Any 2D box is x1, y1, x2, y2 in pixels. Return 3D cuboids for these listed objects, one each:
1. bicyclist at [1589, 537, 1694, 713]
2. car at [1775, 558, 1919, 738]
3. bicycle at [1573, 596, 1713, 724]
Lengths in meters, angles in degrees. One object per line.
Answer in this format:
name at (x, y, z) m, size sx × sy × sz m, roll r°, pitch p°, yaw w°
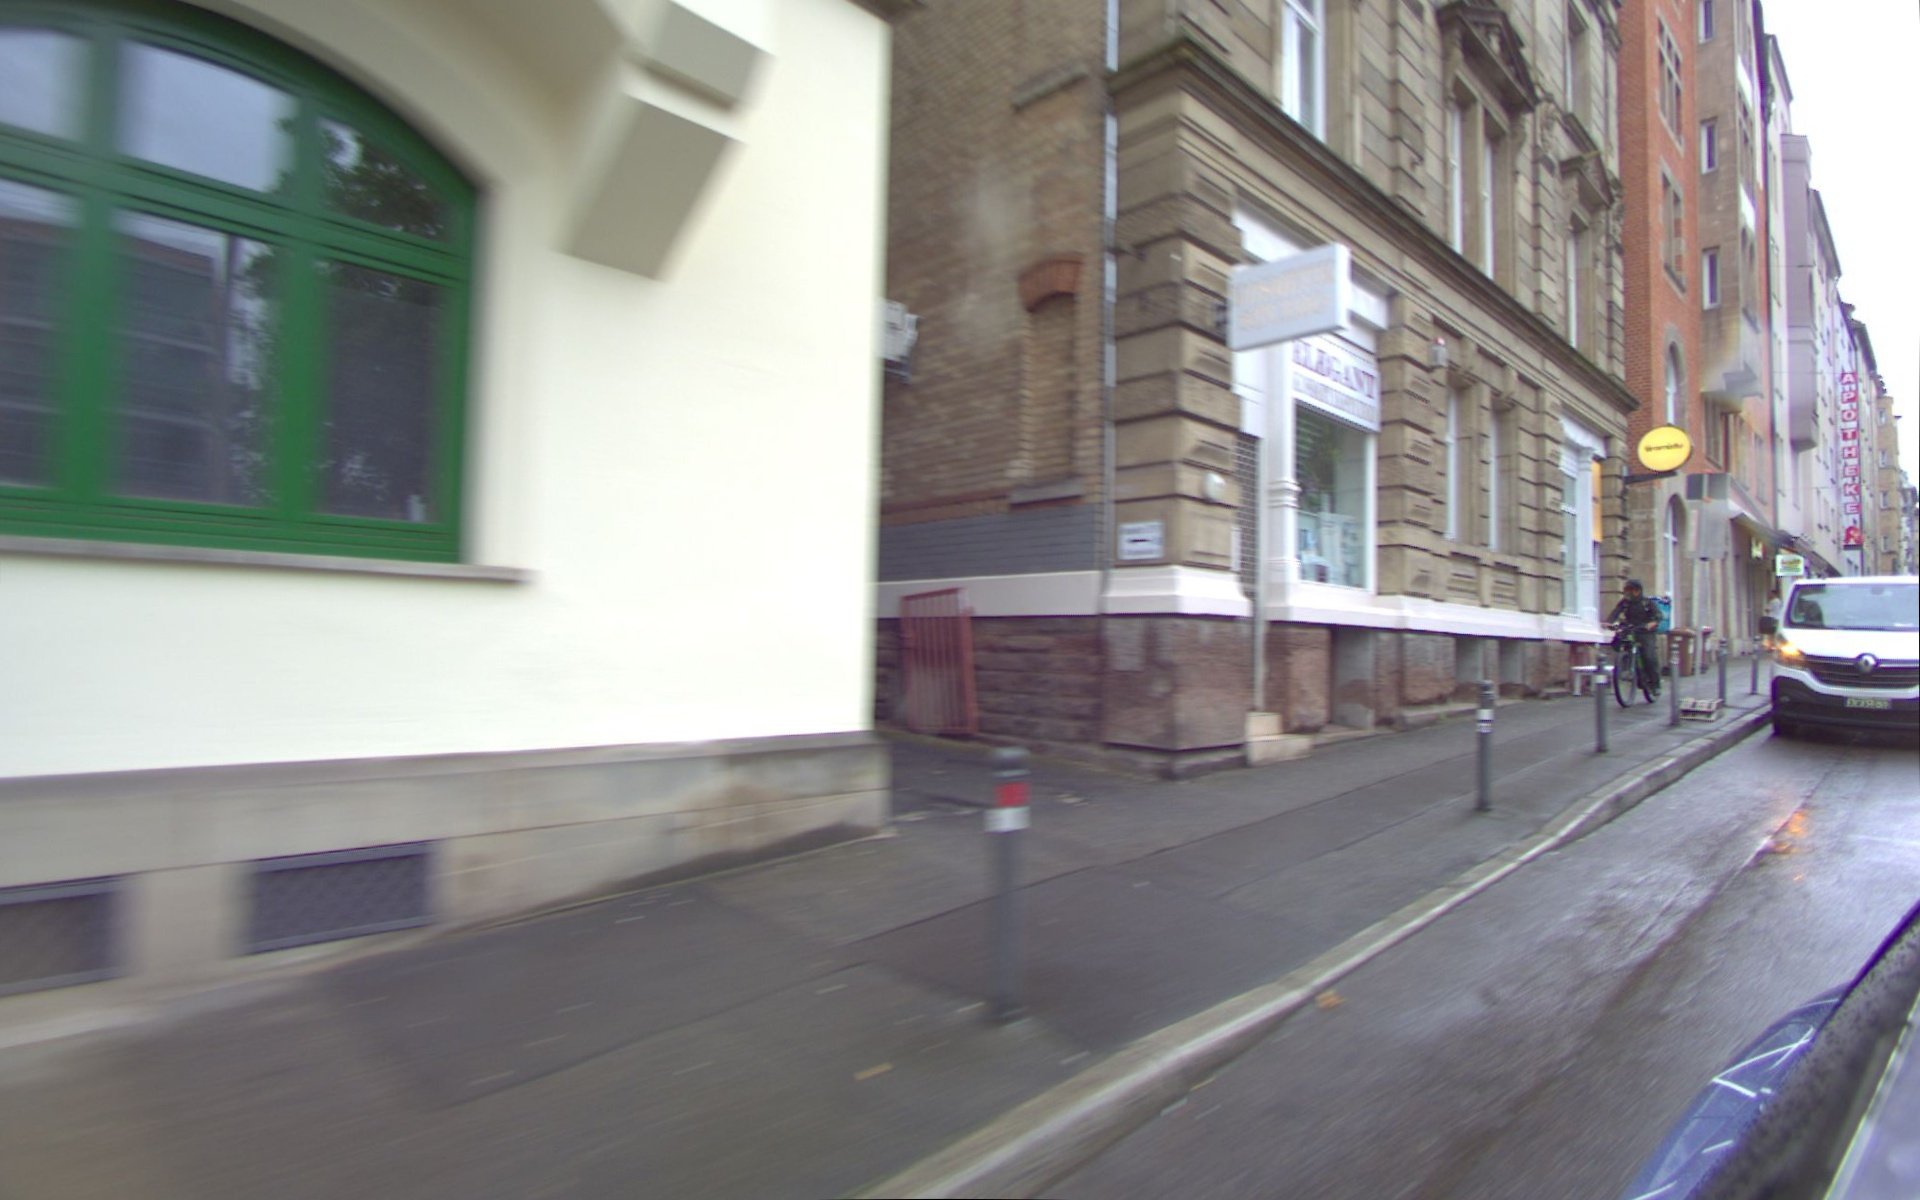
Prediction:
bicyclist at (9.391, 0.325, 13.934) m, size 1.266 × 2.292 × 0.919 m, roll 1°, pitch -1°, yaw -43°
car at (12.229, 0.520, 13.078) m, size 5.890 × 1.929 × 1.822 m, roll 0°, pitch -2°, yaw -43°
bicycle at (9.408, 0.746, 13.862) m, size 3.082 × 1.574 × 0.935 m, roll 0°, pitch -1°, yaw -44°
